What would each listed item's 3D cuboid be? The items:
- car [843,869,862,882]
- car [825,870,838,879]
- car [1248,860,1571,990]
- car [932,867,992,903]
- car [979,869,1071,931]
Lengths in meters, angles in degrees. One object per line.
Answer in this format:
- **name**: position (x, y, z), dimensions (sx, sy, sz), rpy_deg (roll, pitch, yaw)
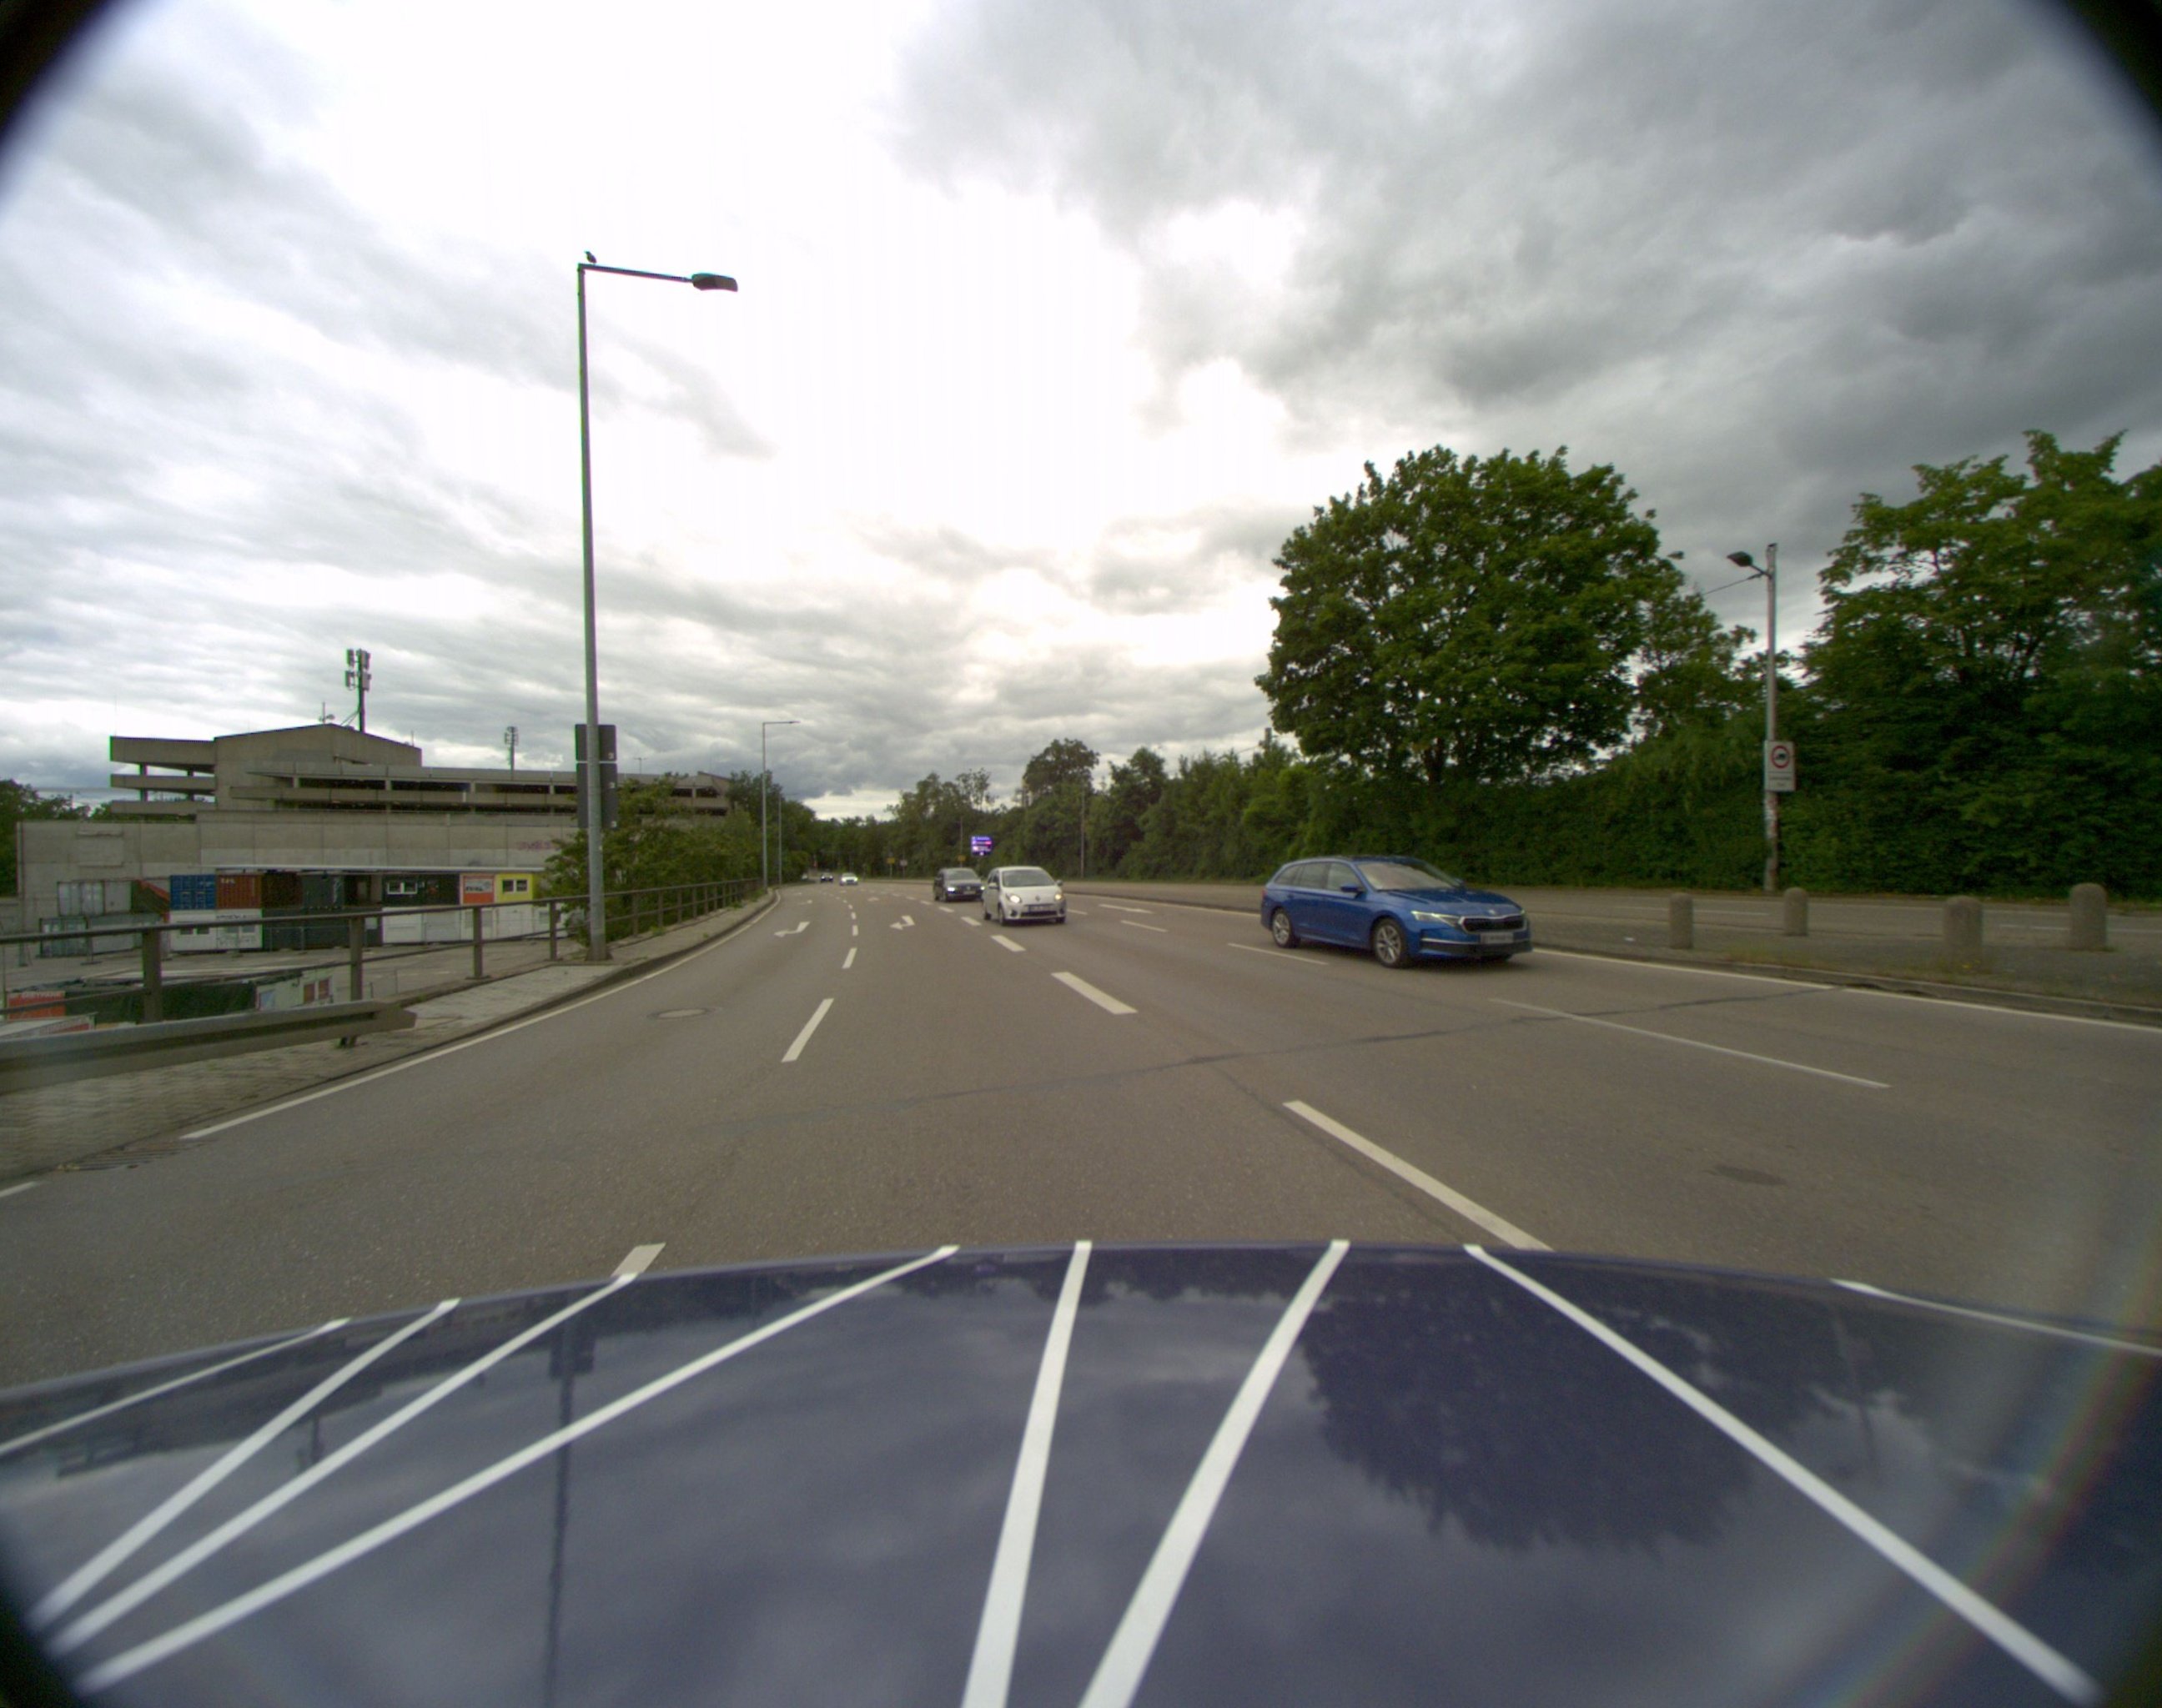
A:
- **car**: position (-26.987, 2.490, 89.667), dimensions (1.867, 1.408, 4.332), rpy_deg (-2, 0, -19)
- **car**: position (-42.481, 3.403, 129.152), dimensions (1.868, 1.408, 4.331), rpy_deg (-2, 0, -21)
- **car**: position (4.352, 0.840, 11.039), dimensions (1.844, 1.408, 4.574), rpy_deg (-2, 0, -15)
- **car**: position (-5.233, 1.302, 33.025), dimensions (1.867, 1.408, 4.332), rpy_deg (-2, 0, -18)
- **car**: position (-1.556, 1.117, 19.904), dimensions (1.611, 1.408, 3.586), rpy_deg (-2, 0, -17)
